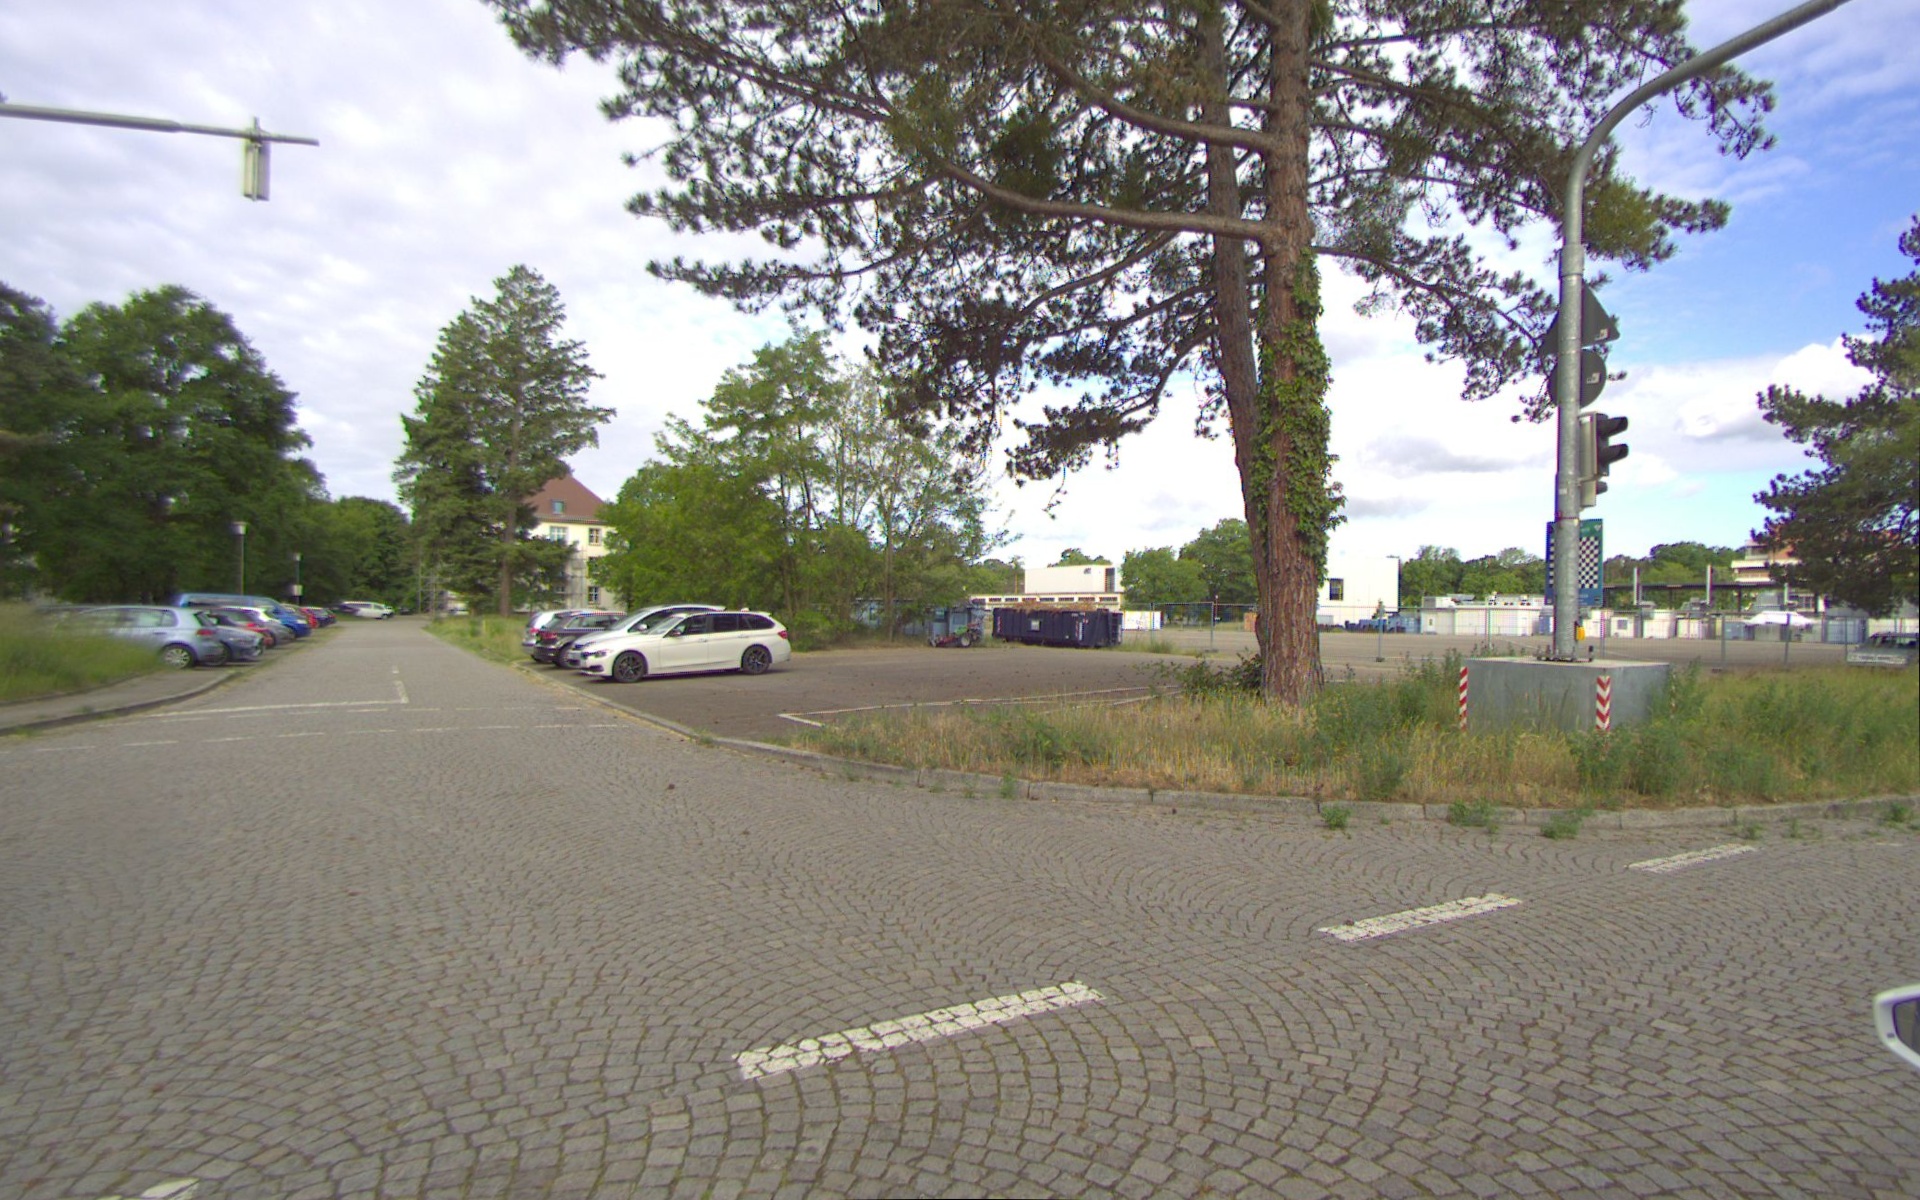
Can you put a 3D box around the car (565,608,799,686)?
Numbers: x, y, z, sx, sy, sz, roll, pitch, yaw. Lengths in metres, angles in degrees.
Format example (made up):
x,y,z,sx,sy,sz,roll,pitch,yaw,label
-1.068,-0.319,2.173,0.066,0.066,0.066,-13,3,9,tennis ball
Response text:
x,y,z,sx,sy,sz,roll,pitch,yaw,label
-6.108,0.969,22.318,4.690,1.461,1.799,-1,1,-34,car

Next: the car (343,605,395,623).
x,y,z,sx,sy,sz,roll,pitch,yaw,label
-67.675,1.590,115.103,5.105,2.040,1.983,1,-1,-31,car

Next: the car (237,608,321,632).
x,y,z,sx,sy,sz,roll,pitch,yaw,label
-40.294,1.169,59.553,3.953,1.372,1.677,1,-1,-30,car

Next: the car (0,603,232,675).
x,y,z,sx,sy,sz,roll,pitch,yaw,label
-18.942,0.859,22.626,3.956,1.492,1.676,1,-1,-32,car

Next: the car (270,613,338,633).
x,y,z,sx,sy,sz,roll,pitch,yaw,label
-47.255,1.672,72.459,3.953,1.372,1.677,1,-1,-30,car

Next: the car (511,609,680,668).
x,y,z,sx,sy,sz,roll,pitch,yaw,label
-10.457,1.075,28.928,4.282,1.587,1.782,1,-1,-34,car

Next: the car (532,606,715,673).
x,y,z,sx,sy,sz,roll,pitch,yaw,label
-8.922,0.983,26.746,4.281,1.522,1.843,-2,1,-34,car

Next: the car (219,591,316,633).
x,y,z,sx,sy,sz,roll,pitch,yaw,label
-34.983,0.607,50.863,3.959,2.040,1.853,2,-1,-34,car

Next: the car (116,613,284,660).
x,y,z,sx,sy,sz,roll,pitch,yaw,label
-23.650,1.136,31.443,3.953,1.372,1.677,1,-1,-30,car

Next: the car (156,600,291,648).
x,y,z,sx,sy,sz,roll,pitch,yaw,label
-28.130,0.892,38.524,3.951,1.737,1.678,0,0,-29,car

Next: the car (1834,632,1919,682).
x,y,z,sx,sy,sz,roll,pitch,yaw,label
30.497,1.841,32.952,3.954,1.507,1.605,1,-1,-31,car

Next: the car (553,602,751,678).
x,y,z,sx,sy,sz,roll,pitch,yaw,label
-7.476,0.902,24.516,4.281,1.605,1.810,-2,1,-34,car

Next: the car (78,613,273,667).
x,y,z,sx,sy,sz,roll,pitch,yaw,label
-21.241,1.088,27.419,3.953,1.372,1.677,1,-1,-30,car

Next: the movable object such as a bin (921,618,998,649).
x,y,z,sx,sy,sz,roll,pitch,yaw,label
0.005,1.212,36.472,2.633,1.062,1.170,1,-1,-36,movable object such as a bin

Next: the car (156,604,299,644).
x,y,z,sx,sy,sz,roll,pitch,yaw,label
-26.251,0.866,36.158,3.953,1.372,1.677,1,-1,-30,car

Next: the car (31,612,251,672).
x,y,z,sx,sy,sz,roll,pitch,yaw,label
-20.102,1.020,24.891,3.953,1.372,1.677,1,-1,-30,car

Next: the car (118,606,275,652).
x,y,z,sx,sy,sz,roll,pitch,yaw,label
-25.358,0.977,33.533,3.953,1.457,1.677,1,-1,-30,car

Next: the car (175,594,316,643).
x,y,z,sx,sy,sz,roll,pitch,yaw,label
-30.559,0.796,43.152,4.738,2.007,1.982,0,0,-31,car
